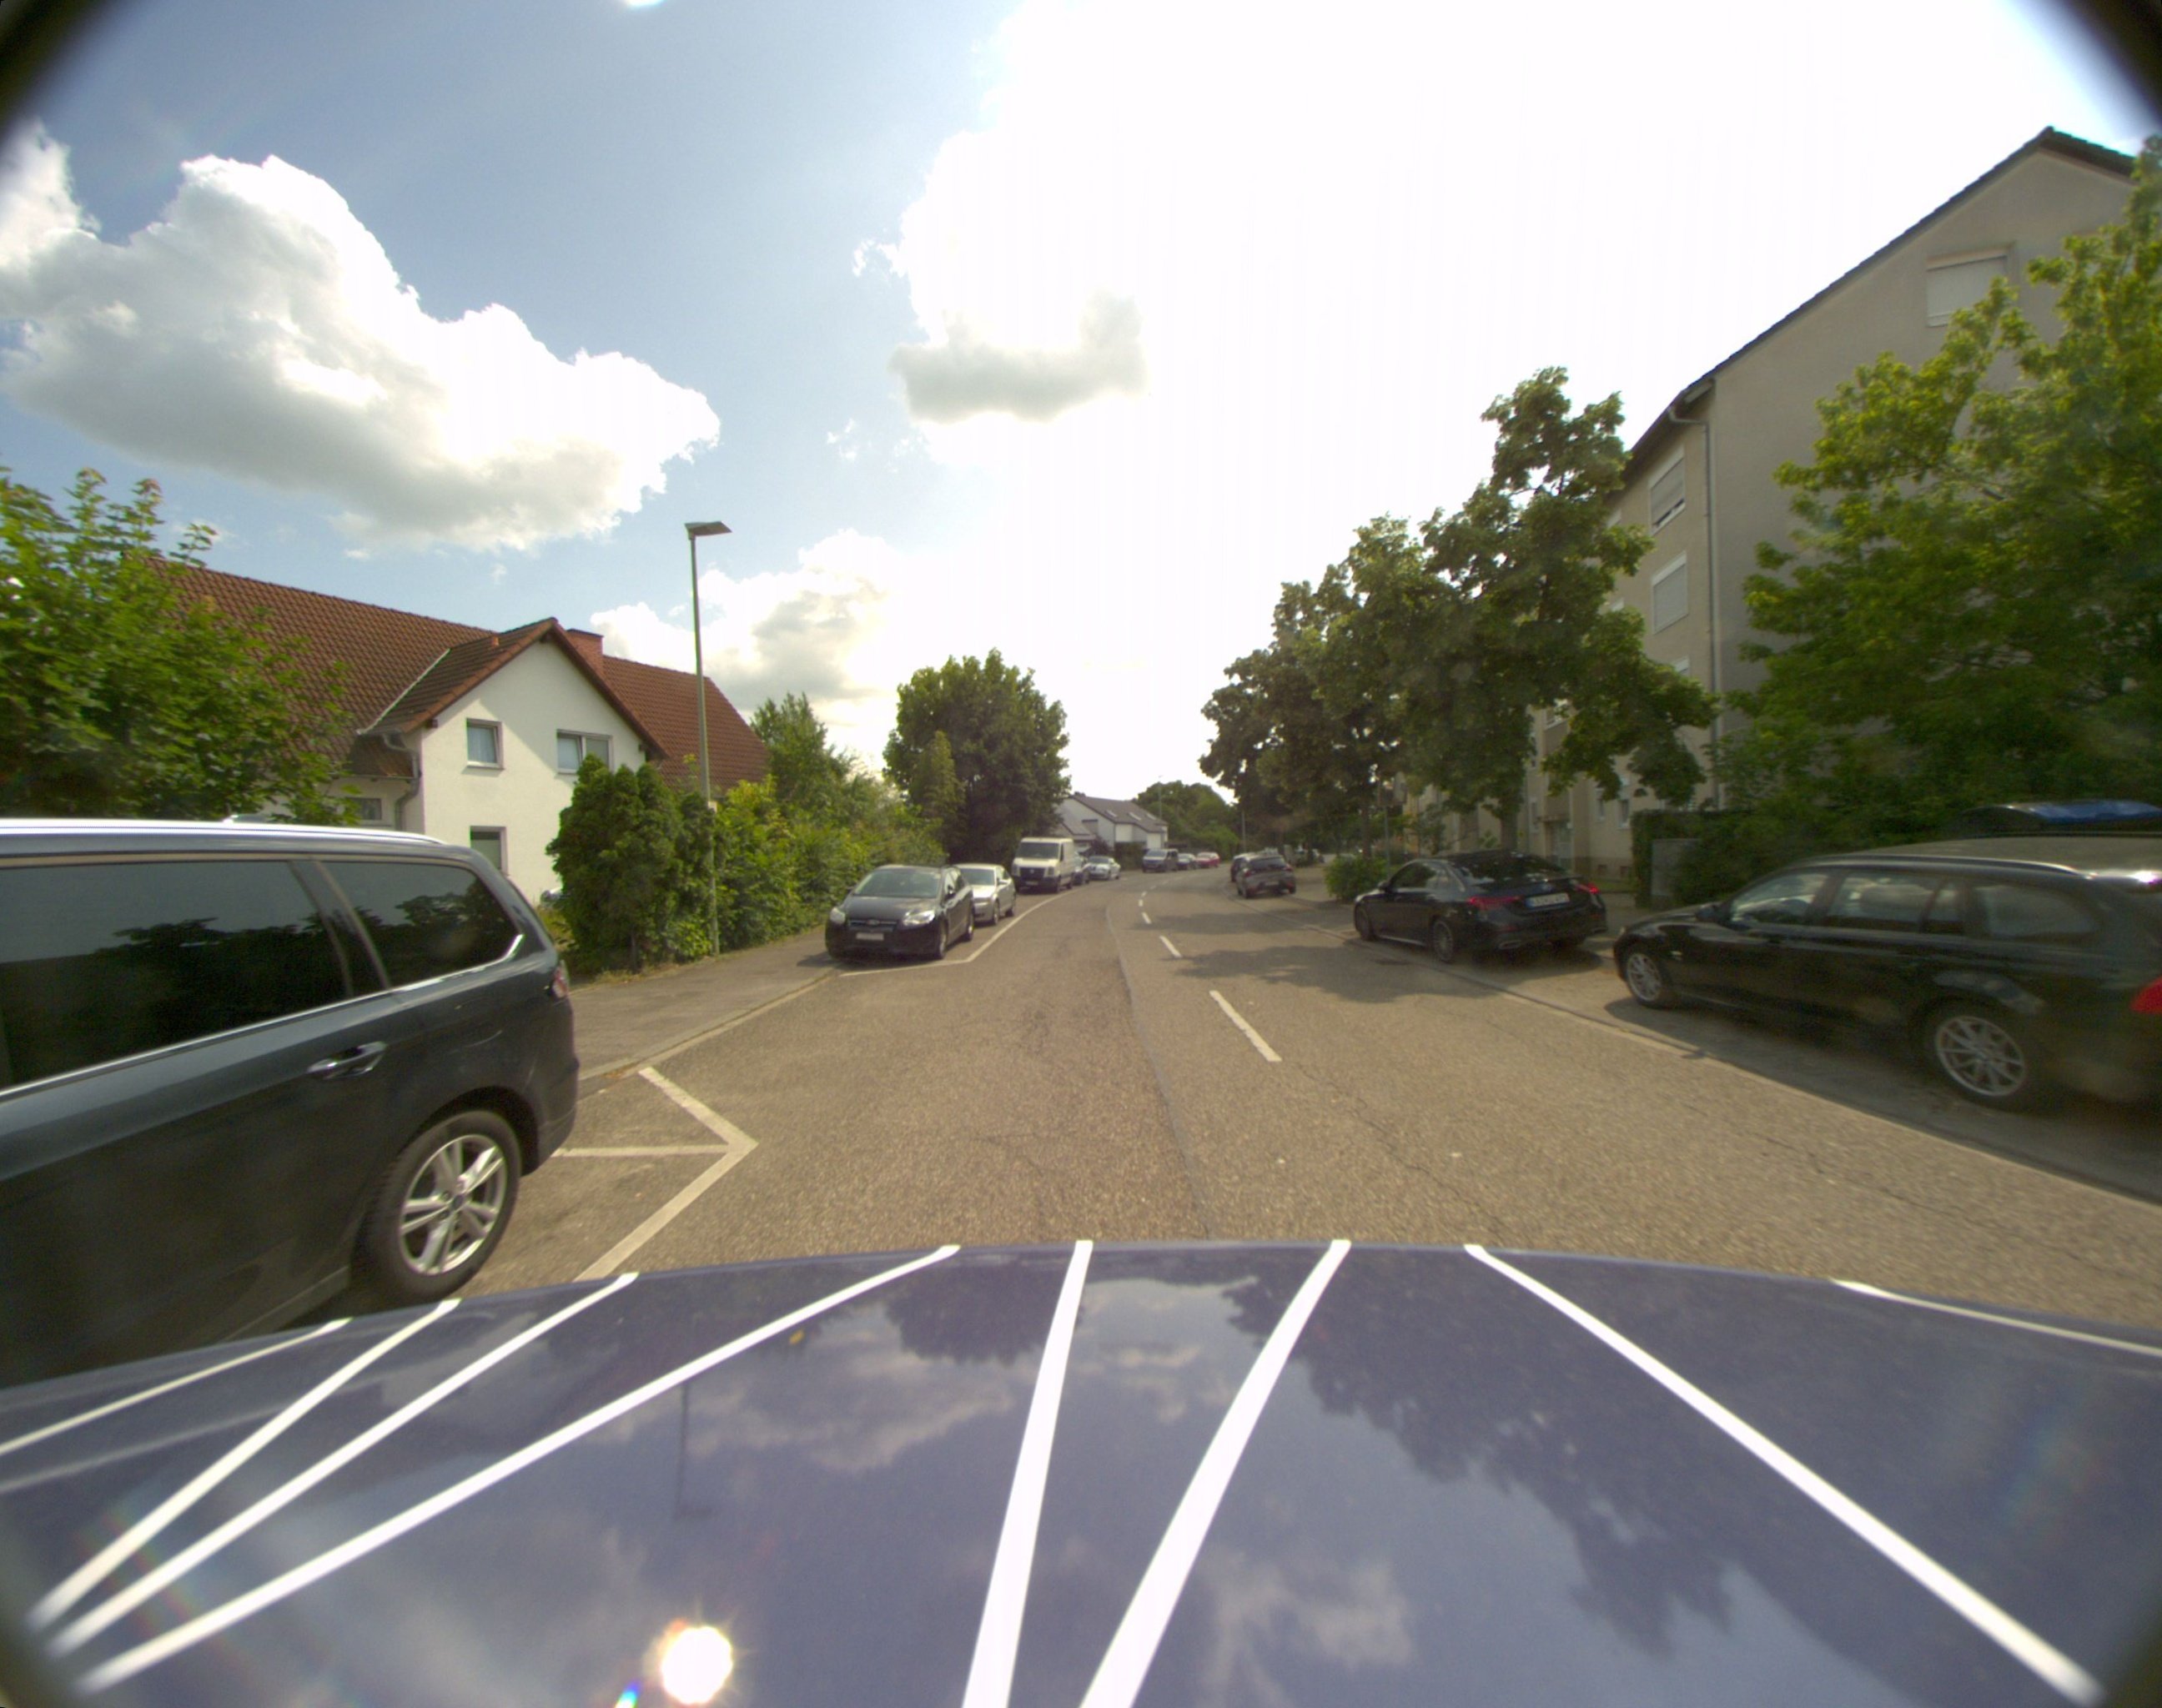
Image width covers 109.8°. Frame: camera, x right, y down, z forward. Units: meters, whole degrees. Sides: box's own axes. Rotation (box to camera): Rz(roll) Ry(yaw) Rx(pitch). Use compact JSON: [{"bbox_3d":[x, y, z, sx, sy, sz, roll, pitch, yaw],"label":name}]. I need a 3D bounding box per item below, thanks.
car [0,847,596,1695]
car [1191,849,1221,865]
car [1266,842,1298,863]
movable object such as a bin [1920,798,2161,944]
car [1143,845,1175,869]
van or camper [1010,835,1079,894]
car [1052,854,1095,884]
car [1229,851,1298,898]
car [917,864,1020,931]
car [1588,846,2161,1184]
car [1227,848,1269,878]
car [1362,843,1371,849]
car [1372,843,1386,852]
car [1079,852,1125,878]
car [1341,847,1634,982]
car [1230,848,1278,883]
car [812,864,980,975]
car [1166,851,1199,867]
[{"bbox_3d":[-3.253,0.935,1.162,1.896,1.763,4.708,-3,1,0],"label":"car"},{"bbox_3d":[12.223,0.254,74.131,1.782,1.477,4.289,2,1,25],"label":"car"},{"bbox_3d":[16.826,-0.129,63.574,1.819,1.714,3.689,-2,0,27],"label":"car"},{"bbox_3d":[10.903,0.181,8.615,1.299,1.477,1.305,-3,0,-5],"label":"movable object such as a bin"},{"bbox_3d":[6.401,0.261,62.285,1.838,1.855,4.286,1,0,16],"label":"car"},{"bbox_3d":[-1.473,0.442,33.512,1.972,2.345,5.762,-1,0,8],"label":"van or camper"},{"bbox_3d":[-0.341,0.776,40.236,1.683,1.513,4.065,-1,0,8],"label":"car"},{"bbox_3d":[6.621,0.700,27.921,1.758,1.410,4.001,-6,0,5],"label":"car"},{"bbox_3d":[-2.668,1.004,18.904,1.684,1.428,4.063,-1,0,4],"label":"car"},{"bbox_3d":[5.833,0.727,5.286,1.692,1.428,4.465,-4,0,3],"label":"car"},{"bbox_3d":[9.455,0.517,43.372,1.758,1.479,3.684,-6,-1,5],"label":"car"},{"bbox_3d":[68.836,-1.923,183.276,1.783,1.433,3.973,-2,0,23],"label":"car"},{"bbox_3d":[52.407,-1.156,133.644,1.782,1.433,3.973,-2,0,28],"label":"car"},{"bbox_3d":[1.361,0.648,46.958,1.817,1.513,4.270,-1,0,15],"label":"car"},{"bbox_3d":[5.612,0.728,11.312,1.735,1.468,4.631,-5,0,-1],"label":"car"},{"bbox_3d":[8.700,0.571,38.464,1.758,1.479,3.684,-6,-1,5],"label":"car"},{"bbox_3d":[-2.945,0.975,13.097,1.731,1.496,4.296,0,1,1],"label":"car"},{"bbox_3d":[9.188,0.436,68.425,1.841,1.410,3.895,-2,0,24],"label":"car"}]
